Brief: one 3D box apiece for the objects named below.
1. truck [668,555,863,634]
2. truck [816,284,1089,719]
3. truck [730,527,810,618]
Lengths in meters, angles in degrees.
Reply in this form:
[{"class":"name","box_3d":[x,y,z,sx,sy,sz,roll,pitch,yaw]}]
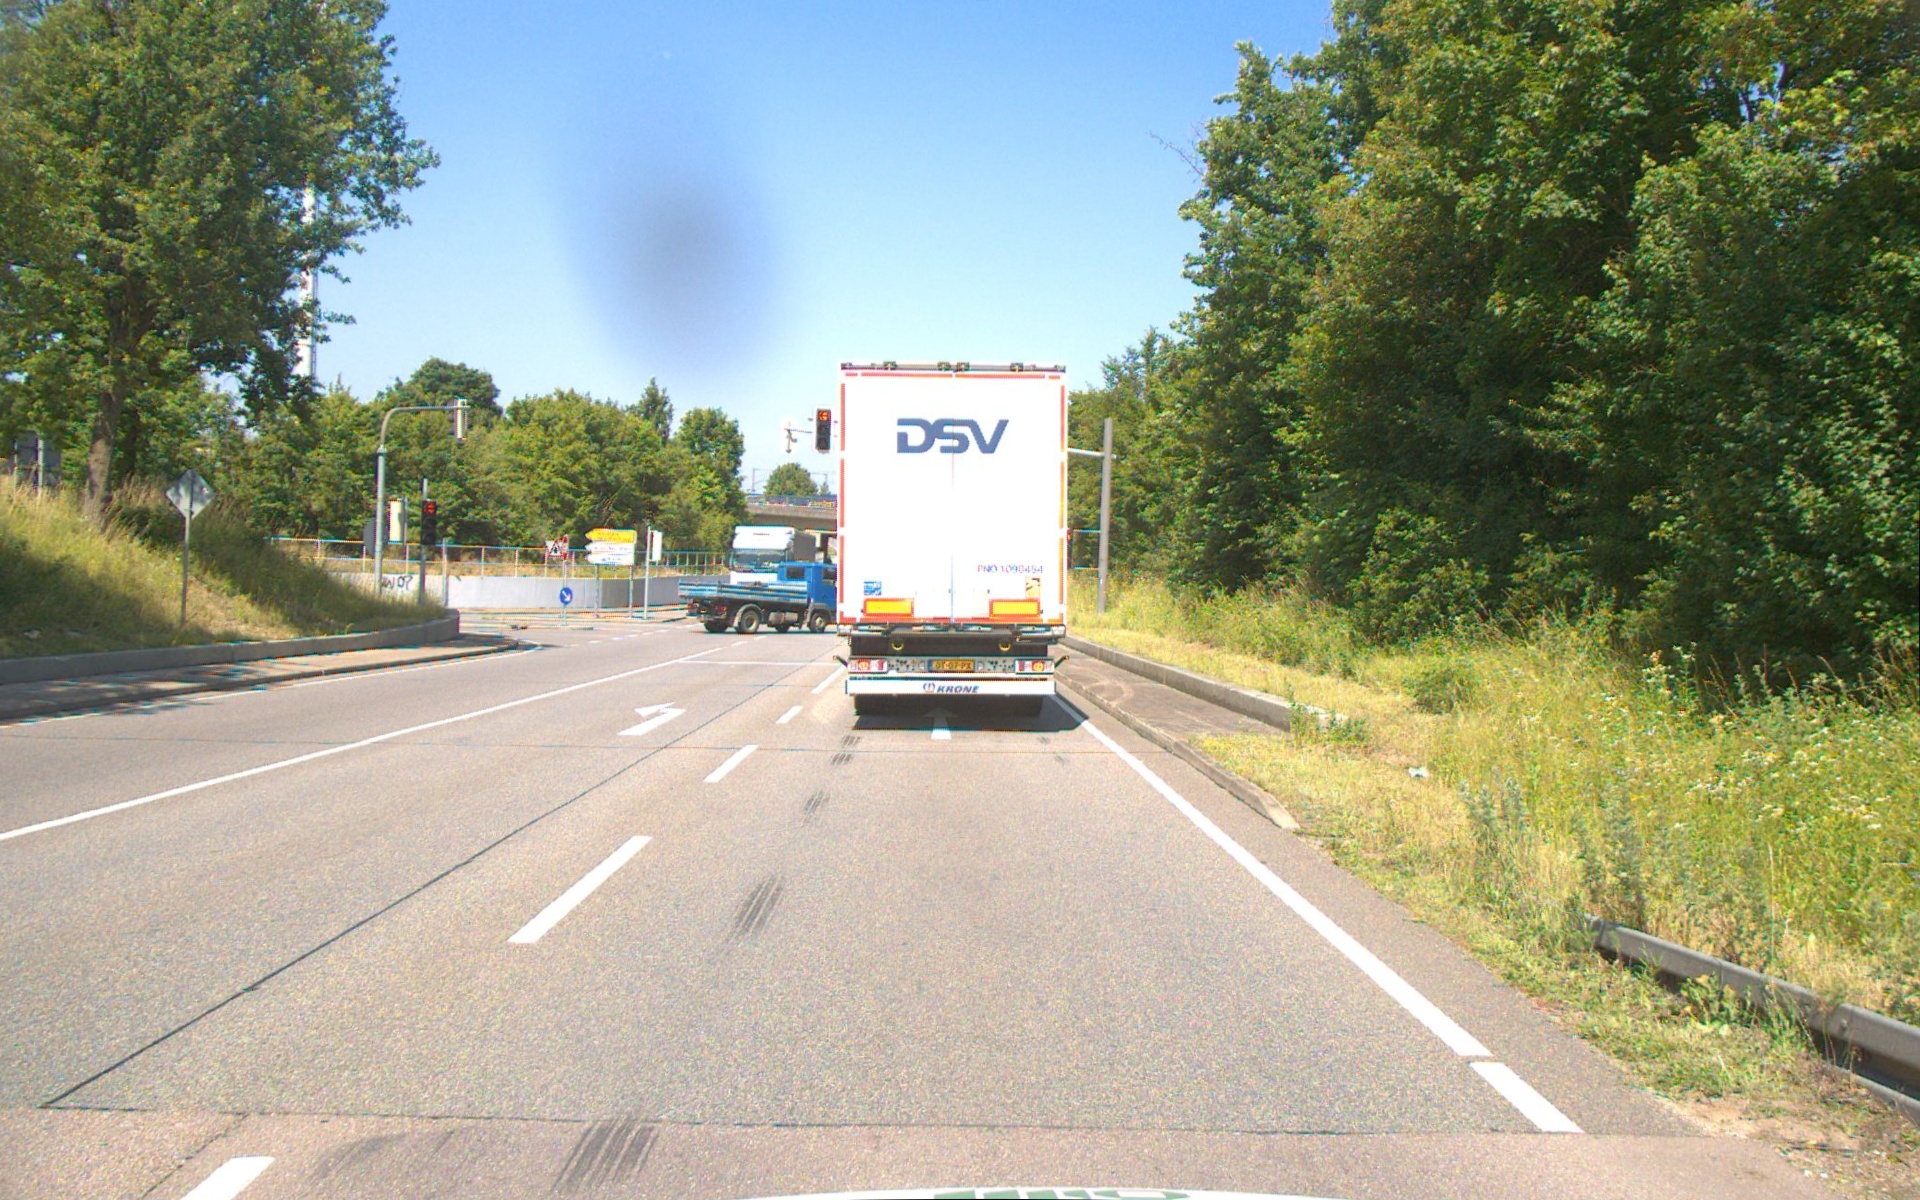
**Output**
[{"class":"truck","box_3d":[-6.616,-0.169,56.851,6.382,2.543,2.671,1,0,-44]},{"class":"truck","box_3d":[-0.028,-1.074,22.730,2.889,4.648,9.863,1,0,1]},{"class":"truck","box_3d":[-8.527,-1.251,75.532,2.305,3.815,12.624,1,1,-1]}]
